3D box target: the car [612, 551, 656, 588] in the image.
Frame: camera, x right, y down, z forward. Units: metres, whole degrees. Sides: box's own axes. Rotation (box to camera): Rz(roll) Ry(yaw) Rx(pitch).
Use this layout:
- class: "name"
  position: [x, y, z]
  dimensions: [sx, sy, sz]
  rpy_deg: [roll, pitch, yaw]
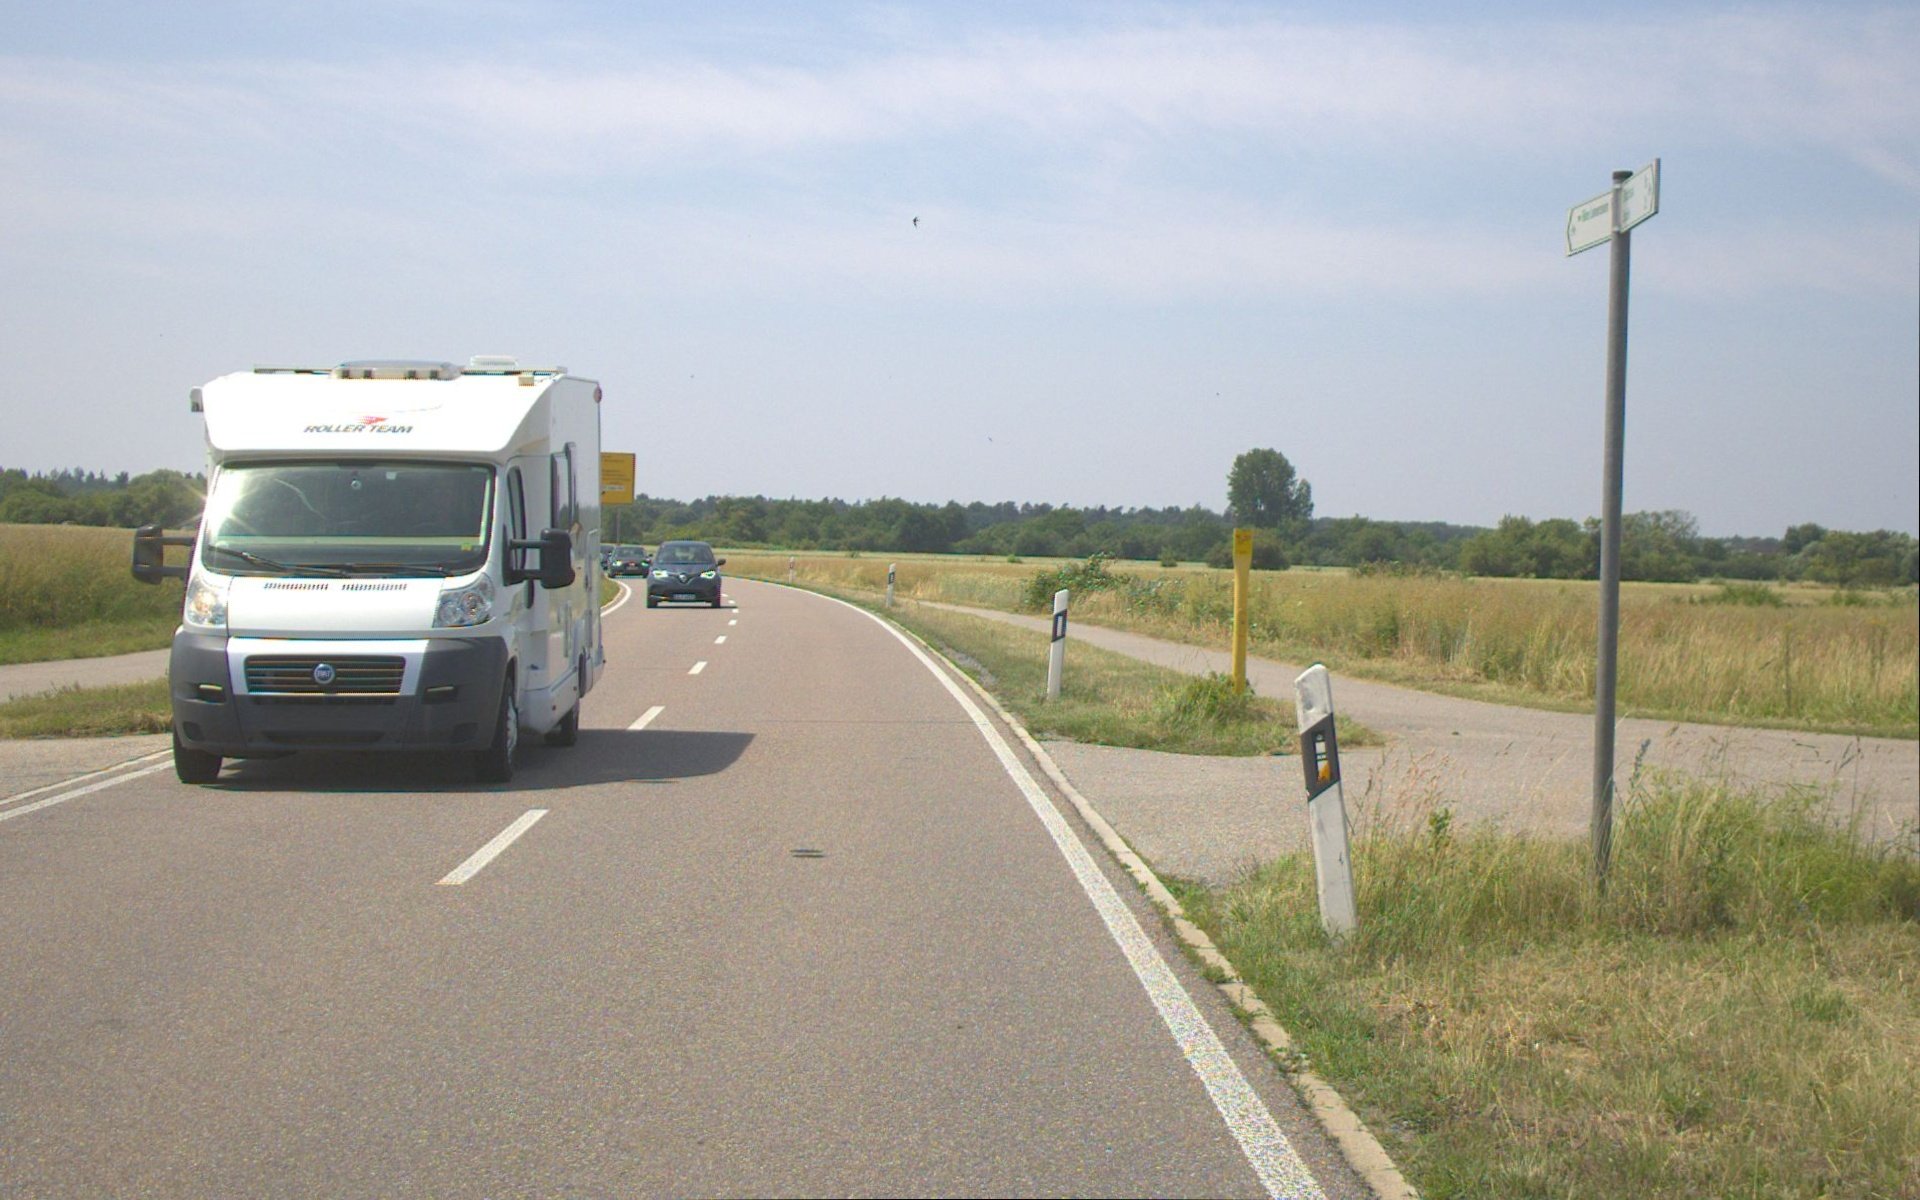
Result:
- class: "car"
  position: [-14.229, -1.313, 150.048]
  dimensions: [1.712, 1.581, 3.502]
  rpy_deg: [1, 0, -2]

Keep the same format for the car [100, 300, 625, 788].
- class: "car"
  position: [-3.892, -0.395, 24.075]
  dimensions: [2.397, 2.837, 7.628]
  rpy_deg: [1, 1, -1]

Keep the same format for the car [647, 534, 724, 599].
- class: "car"
  position: [-6.431, -0.777, 80.947]
  dimensions: [1.623, 1.486, 4.000]
  rpy_deg: [1, 0, -2]
